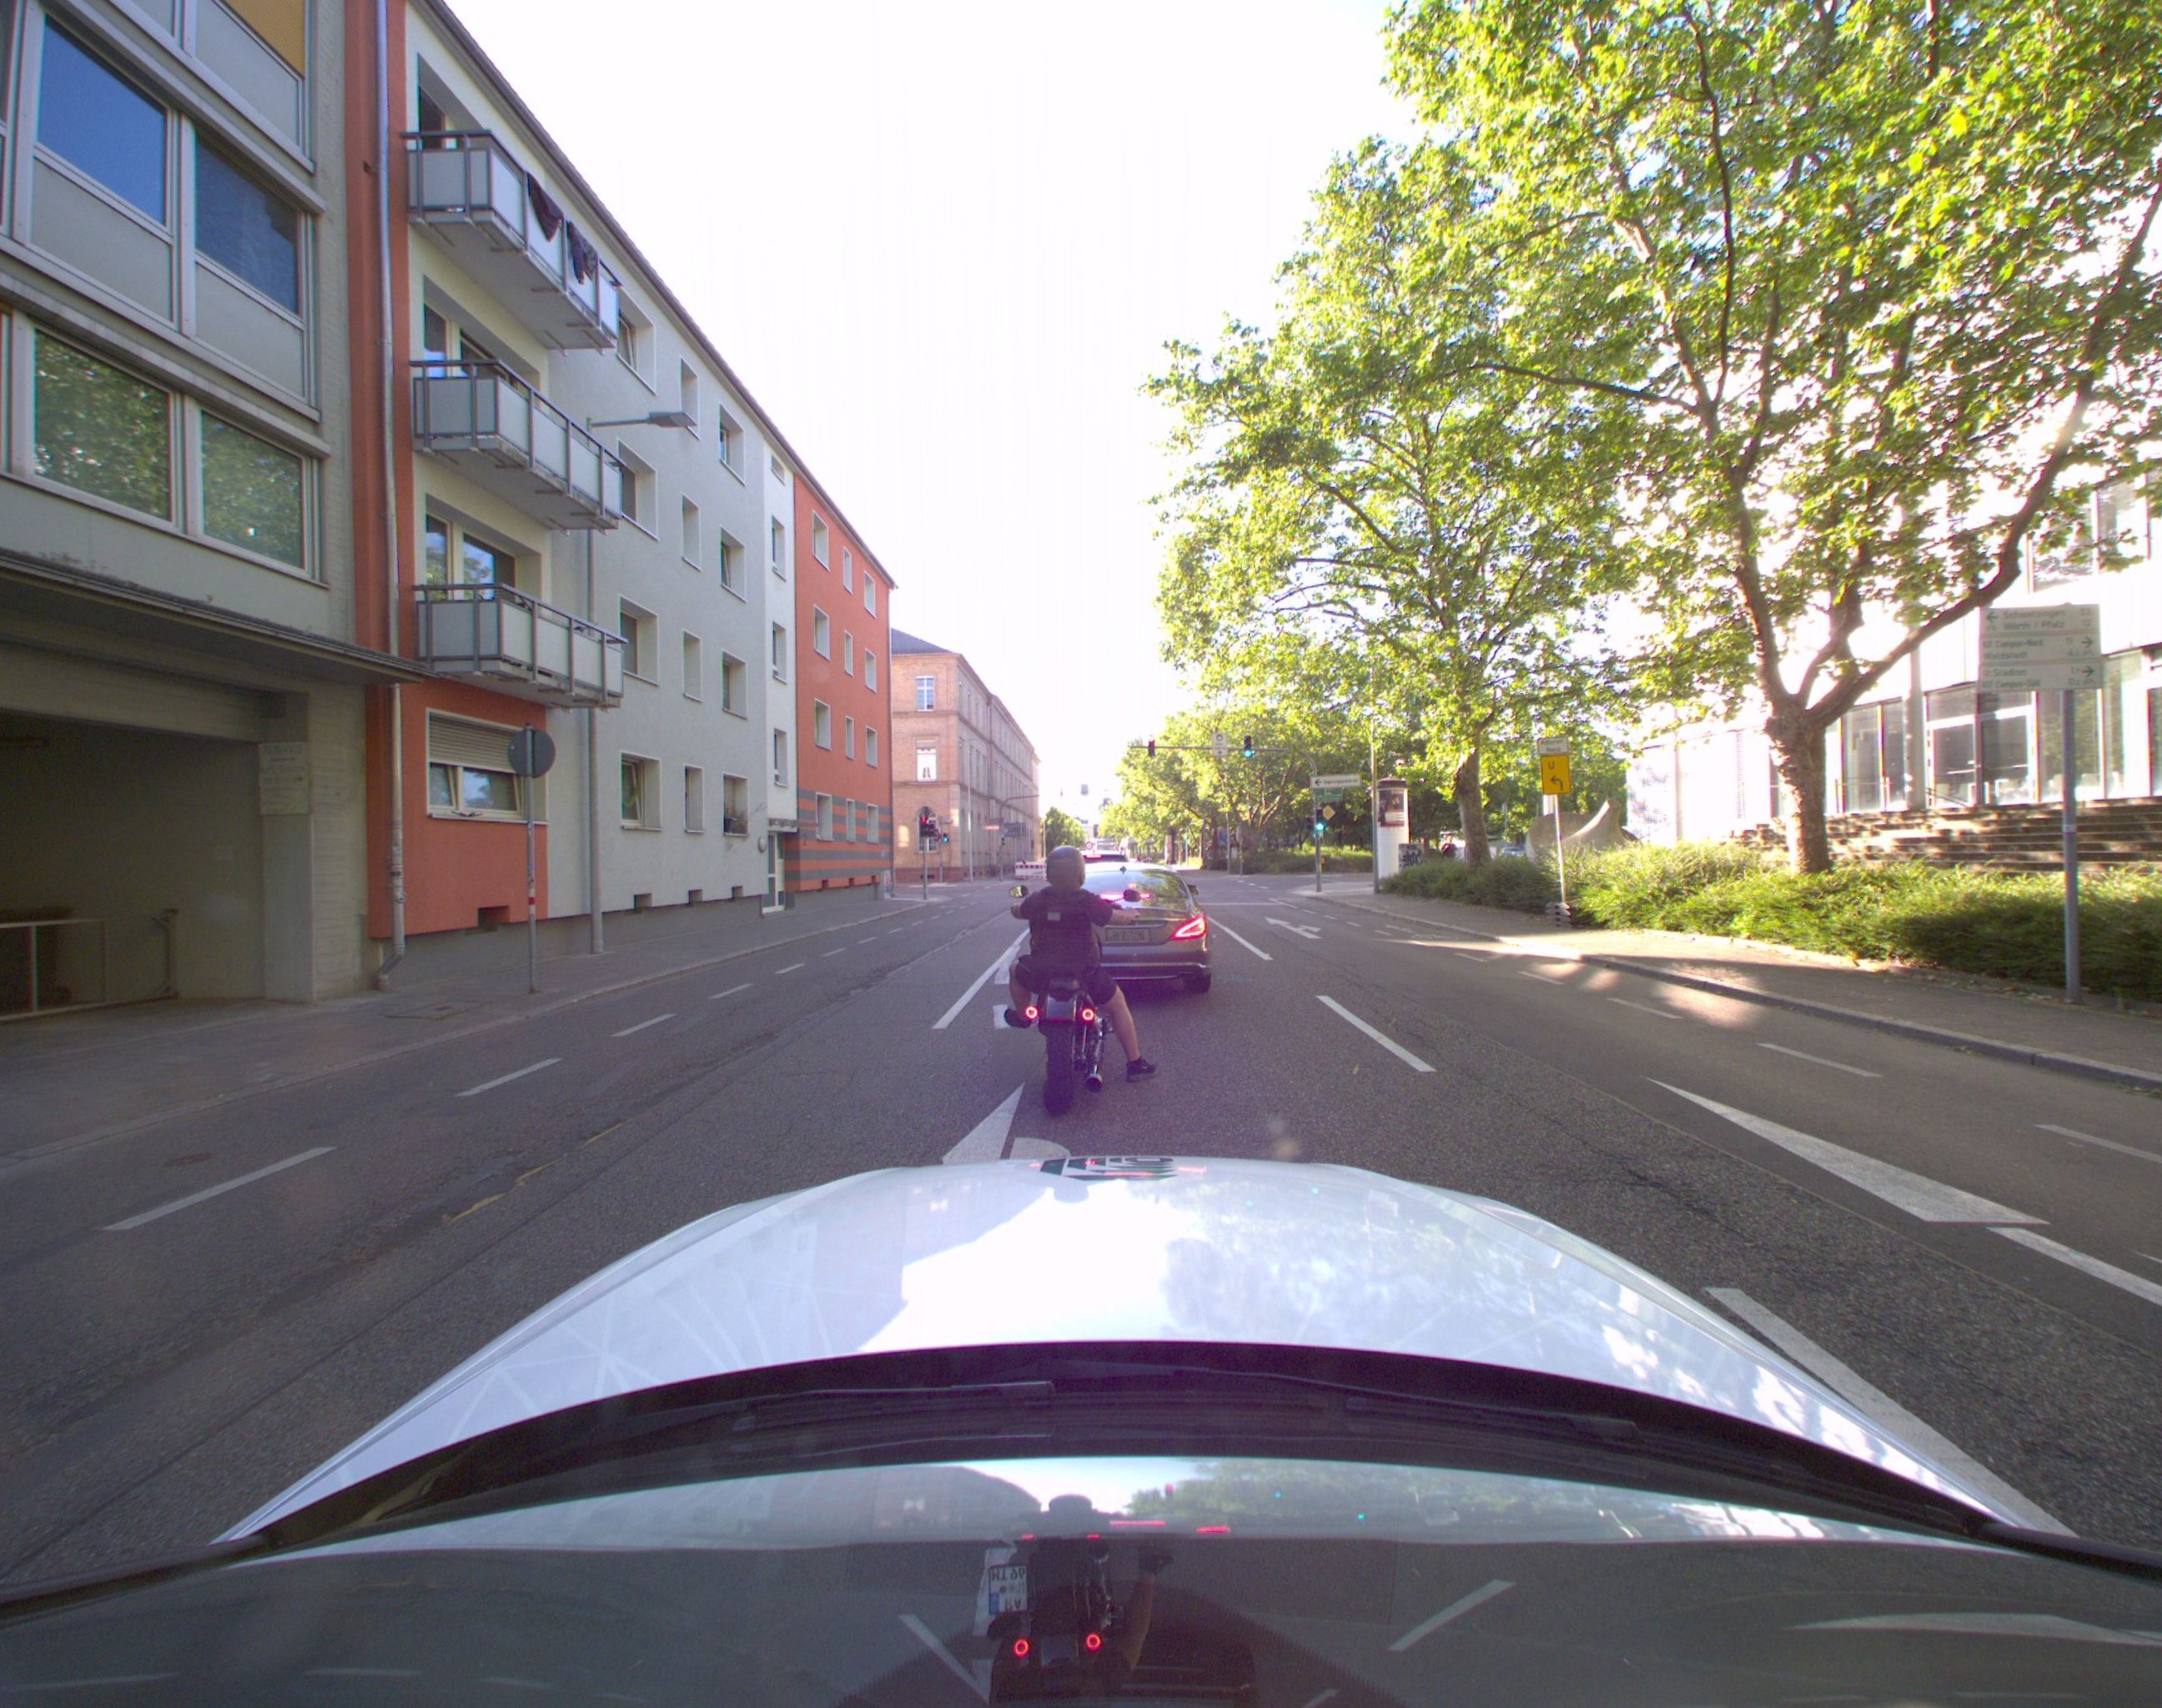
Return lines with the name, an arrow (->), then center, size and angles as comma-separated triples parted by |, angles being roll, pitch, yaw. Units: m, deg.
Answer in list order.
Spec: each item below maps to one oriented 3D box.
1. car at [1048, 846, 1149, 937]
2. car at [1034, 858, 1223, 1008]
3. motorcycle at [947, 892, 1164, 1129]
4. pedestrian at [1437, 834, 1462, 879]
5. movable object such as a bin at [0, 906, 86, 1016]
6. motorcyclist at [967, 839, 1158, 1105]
car -> 0.382, 0.711, 17.067 | 1.856, 1.678, 4.001 | 0, -1, 2
car -> 0.521, 0.779, 9.779 | 1.815, 1.437, 3.807 | 0, -1, 2
motorcycle -> -0.041, 0.911, 5.622 | 1.111, 1.207, 2.217 | -1, -1, 8
pedestrian -> 14.838, 0.089, 32.791 | 0.731, 1.778, 0.731 | -1, -1, 10
movable object such as a bin -> -11.283, 1.118, 8.646 | 0.533, 1.079, 0.723 | 0, -1, 3
motorcyclist -> -0.069, 0.703, 5.403 | 1.093, 1.566, 1.074 | -1, -1, 8
